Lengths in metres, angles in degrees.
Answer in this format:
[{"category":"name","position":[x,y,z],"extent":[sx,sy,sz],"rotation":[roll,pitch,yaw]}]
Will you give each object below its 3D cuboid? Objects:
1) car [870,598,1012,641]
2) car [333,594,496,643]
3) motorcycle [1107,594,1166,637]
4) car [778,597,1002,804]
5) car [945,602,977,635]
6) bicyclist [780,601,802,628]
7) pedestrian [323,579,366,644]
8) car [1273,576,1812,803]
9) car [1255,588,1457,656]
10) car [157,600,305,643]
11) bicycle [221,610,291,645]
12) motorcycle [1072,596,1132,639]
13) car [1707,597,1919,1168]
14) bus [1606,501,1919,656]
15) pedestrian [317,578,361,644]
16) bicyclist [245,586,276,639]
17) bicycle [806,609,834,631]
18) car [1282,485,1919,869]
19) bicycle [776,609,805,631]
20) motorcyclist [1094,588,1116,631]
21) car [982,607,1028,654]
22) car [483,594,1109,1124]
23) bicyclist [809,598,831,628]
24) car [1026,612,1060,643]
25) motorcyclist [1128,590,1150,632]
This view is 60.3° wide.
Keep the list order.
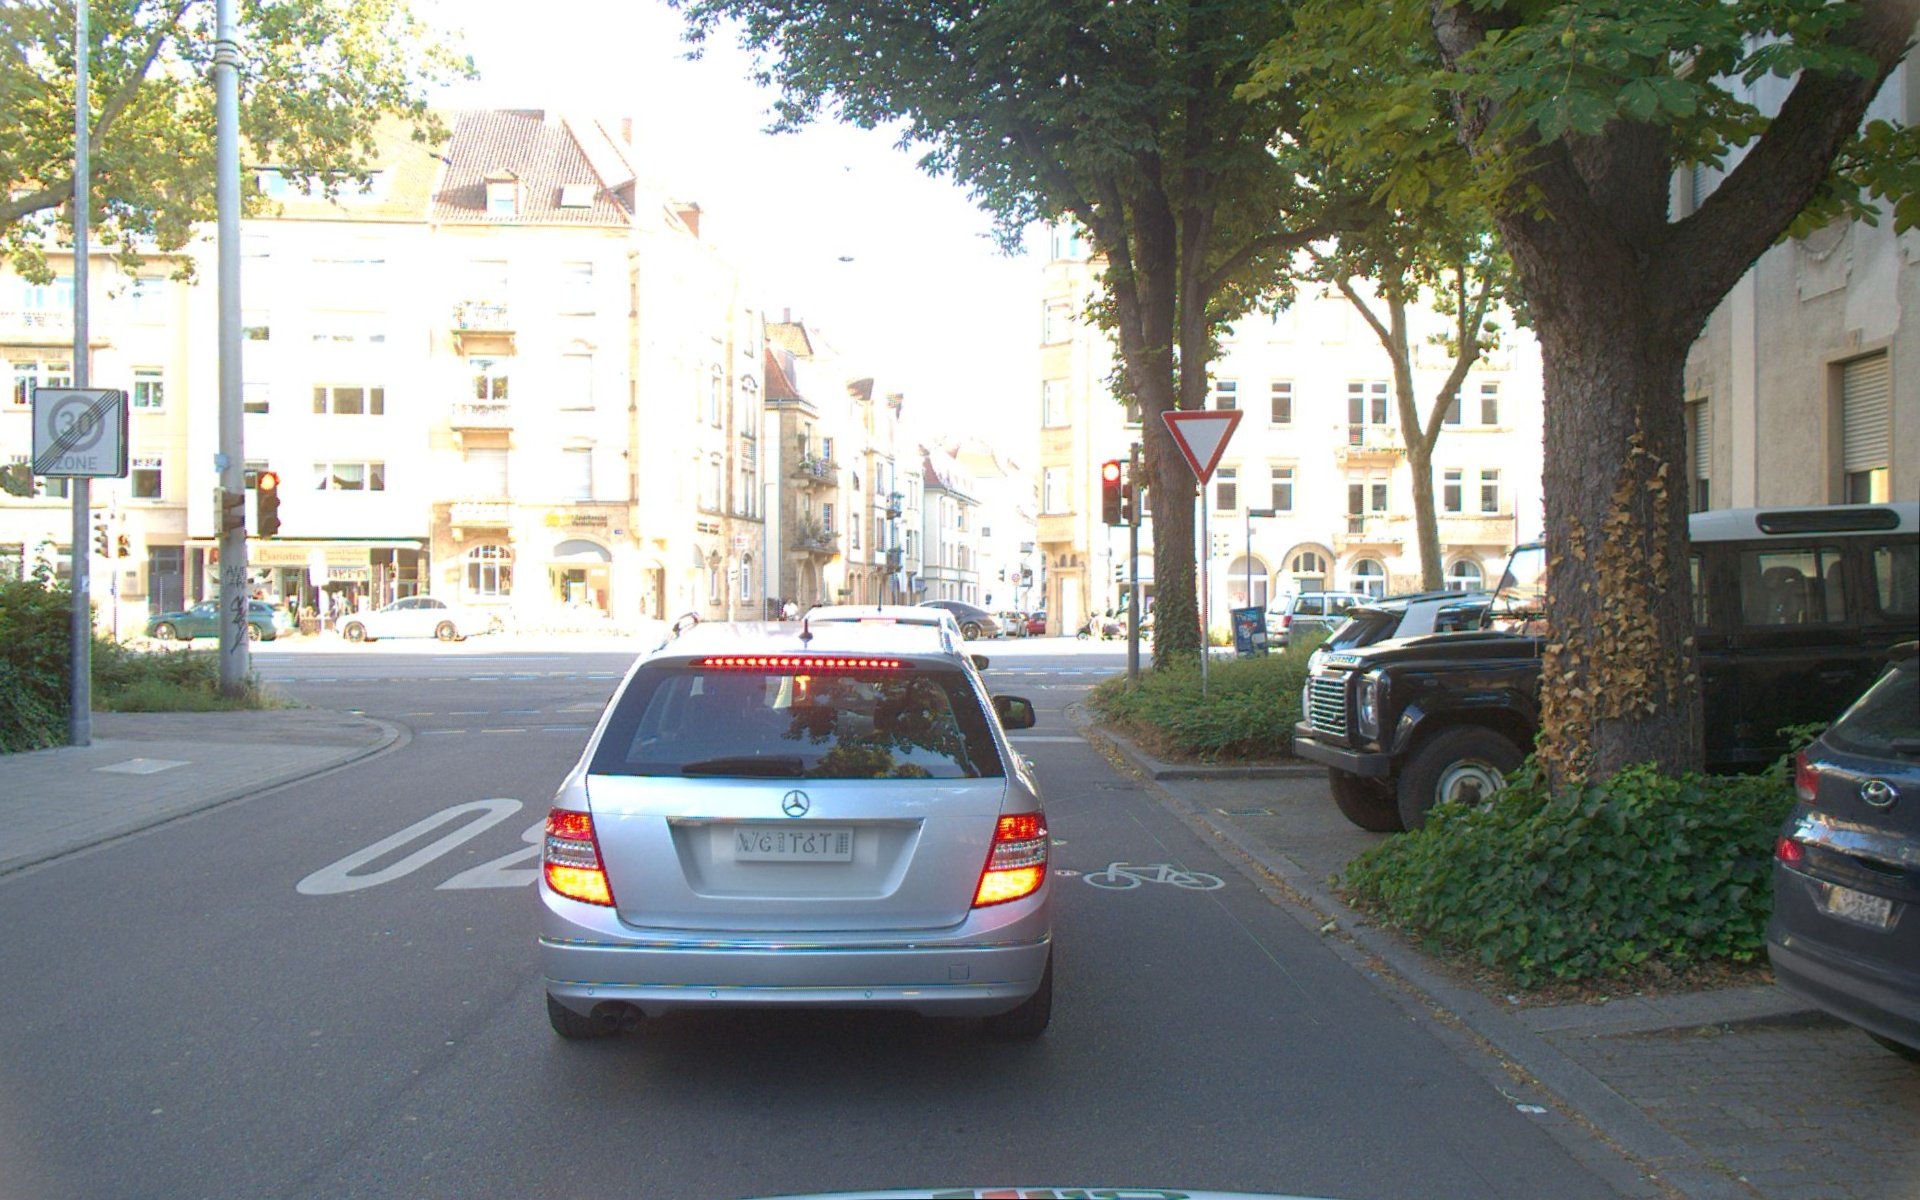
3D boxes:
[{"category":"car","position":[-0.688,0.660,57.049],"extent":[4.788,1.477,1.857],"rotation":[0,0,-5]},{"category":"car","position":[-17.289,0.575,52.559],"extent":[4.613,1.486,1.834],"rotation":[0,0,-7]},{"category":"motorcycle","position":[6.245,0.539,58.426],"extent":[1.993,1.477,0.568],"rotation":[0,0,-5]},{"category":"car","position":[-0.588,0.724,14.024],"extent":[1.587,1.472,4.342],"rotation":[1,0,-2]},{"category":"car","position":[0.086,1.295,117.324],"extent":[1.749,2.242,4.003],"rotation":[0,1,7]},{"category":"bicyclist","position":[-7.484,0.645,73.329],"extent":[0.754,1.177,0.753],"rotation":[1,0,10]},{"category":"pedestrian","position":[-23.950,0.432,64.349],"extent":[1.320,2.507,1.059],"rotation":[0,0,-5]},{"category":"car","position":[4.514,0.658,13.143],"extent":[3.650,1.597,1.707],"rotation":[-1,0,-4]},{"category":"car","position":[9.146,0.485,38.366],"extent":[4.263,1.523,1.659],"rotation":[0,0,-7]},{"category":"car","position":[-24.045,0.706,54.640],"extent":[4.140,1.372,1.662],"rotation":[0,0,-7]},{"category":"bicycle","position":[-25.267,0.986,59.347],"extent":[2.212,1.268,0.636],"rotation":[0,0,-5]},{"category":"motorcycle","position":[4.890,0.600,56.849],"extent":[1.993,1.477,0.568],"rotation":[0,0,-5]},{"category":"car","position":[4.288,0.699,4.597],"extent":[3.650,1.477,1.707],"rotation":[-1,0,-4]},{"category":"bus","position":[18.808,-0.489,36.636],"extent":[8.024,3.257,2.906],"rotation":[0,0,-9]},{"category":"pedestrian","position":[-23.756,0.422,63.319],"extent":[1.320,2.507,1.059],"rotation":[0,0,-5]},{"category":"bicyclist","position":[-25.113,0.442,59.366],"extent":[0.874,1.892,0.636],"rotation":[0,0,-5]},{"category":"bicycle","position":[-6.206,0.886,73.358],"extent":[0.754,0.950,1.942],"rotation":[1,0,10]},{"category":"car","position":[4.373,0.410,10.175],"extent":[4.377,2.072,1.699],"rotation":[-1,0,-4]},{"category":"bicycle","position":[-7.502,0.870,73.251],"extent":[0.754,0.956,1.942],"rotation":[1,0,10]},{"category":"motorcyclist","position":[4.984,0.332,56.858],"extent":[0.668,1.477,0.568],"rotation":[0,0,-5]},{"category":"car","position":[2.357,1.563,85.904],"extent":[1.987,2.319,4.003],"rotation":[0,1,7]},{"category":"car","position":[-0.547,0.733,6.934],"extent":[1.741,1.477,4.546],"rotation":[1,0,-2]},{"category":"bicyclist","position":[-6.204,0.587,73.360],"extent":[0.754,1.312,0.753],"rotation":[1,0,10]},{"category":"car","position":[5.120,1.670,101.977],"extent":[1.796,1.775,4.003],"rotation":[0,1,7]},{"category":"motorcyclist","position":[6.329,0.398,58.434],"extent":[0.668,1.477,0.568],"rotation":[0,0,-5]}]
